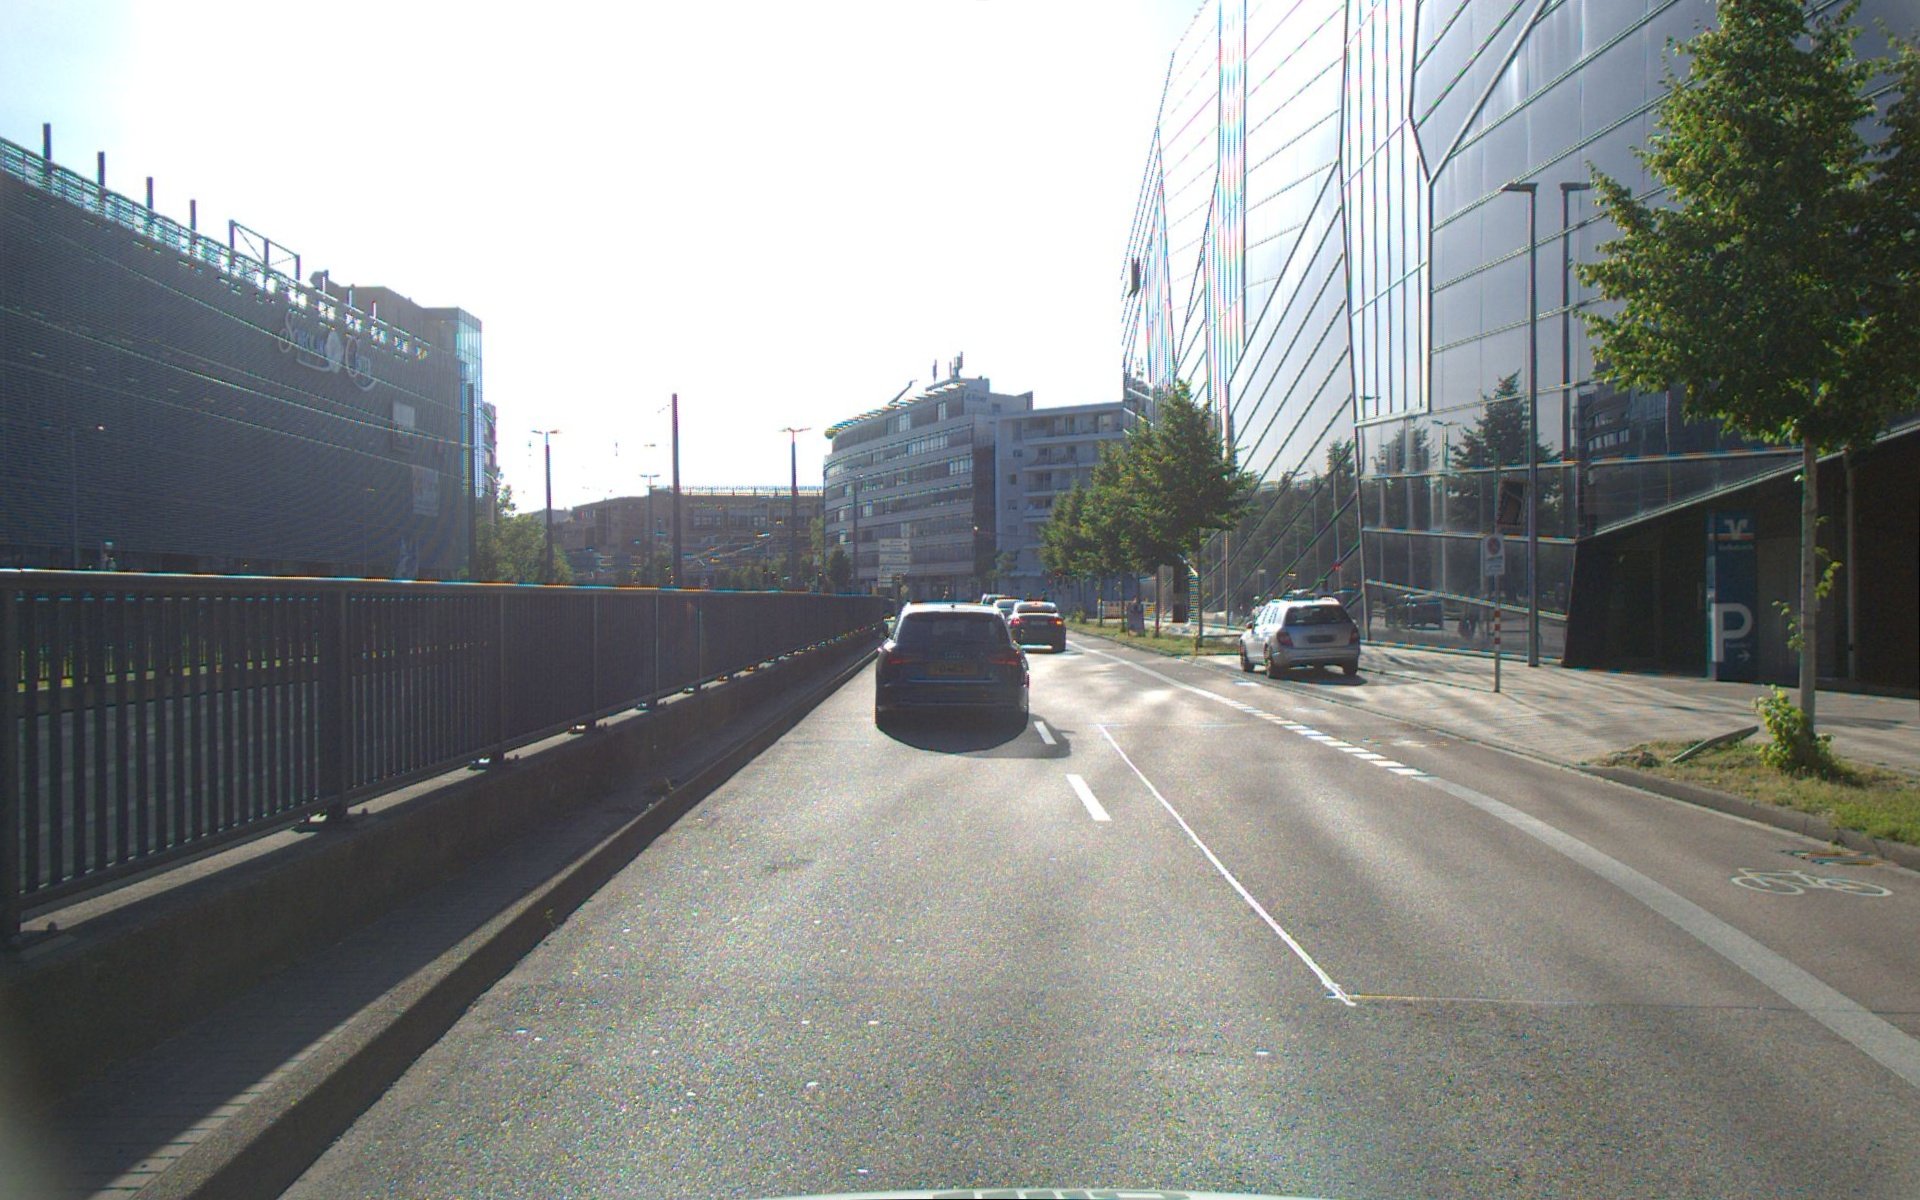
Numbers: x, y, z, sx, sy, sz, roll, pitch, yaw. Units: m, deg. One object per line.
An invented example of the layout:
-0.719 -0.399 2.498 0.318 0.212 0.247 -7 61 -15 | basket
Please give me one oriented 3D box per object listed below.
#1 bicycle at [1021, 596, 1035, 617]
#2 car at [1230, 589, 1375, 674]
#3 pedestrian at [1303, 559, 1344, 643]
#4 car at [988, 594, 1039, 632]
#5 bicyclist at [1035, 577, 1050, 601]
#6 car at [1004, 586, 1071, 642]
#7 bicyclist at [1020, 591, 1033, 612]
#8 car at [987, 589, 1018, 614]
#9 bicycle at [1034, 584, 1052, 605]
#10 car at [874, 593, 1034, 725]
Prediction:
4.148 0.387 101.278 0.709 1.204 2.093 -2 0 -1 | bicycle
6.814 0.572 33.422 1.815 1.506 4.853 -2 1 -1 | car
8.985 0.021 40.915 0.819 2.049 0.689 -2 0 0 | pedestrian
2.260 0.545 70.396 1.953 1.491 3.999 0 1 -1 | car
4.998 -0.670 99.810 0.710 1.443 0.890 -2 0 -7 | bicyclist
2.258 0.375 48.909 1.814 1.573 4.000 1 1 1 | car
4.077 0.082 101.269 0.709 1.291 1.036 -2 0 -1 | bicyclist
2.700 0.078 105.995 1.952 1.491 4.001 0 1 1 | car
4.995 -0.338 99.789 0.710 1.204 2.090 -2 0 -7 | bicycle
-0.105 0.659 20.890 1.775 1.452 4.688 -1 0 -1 | car
